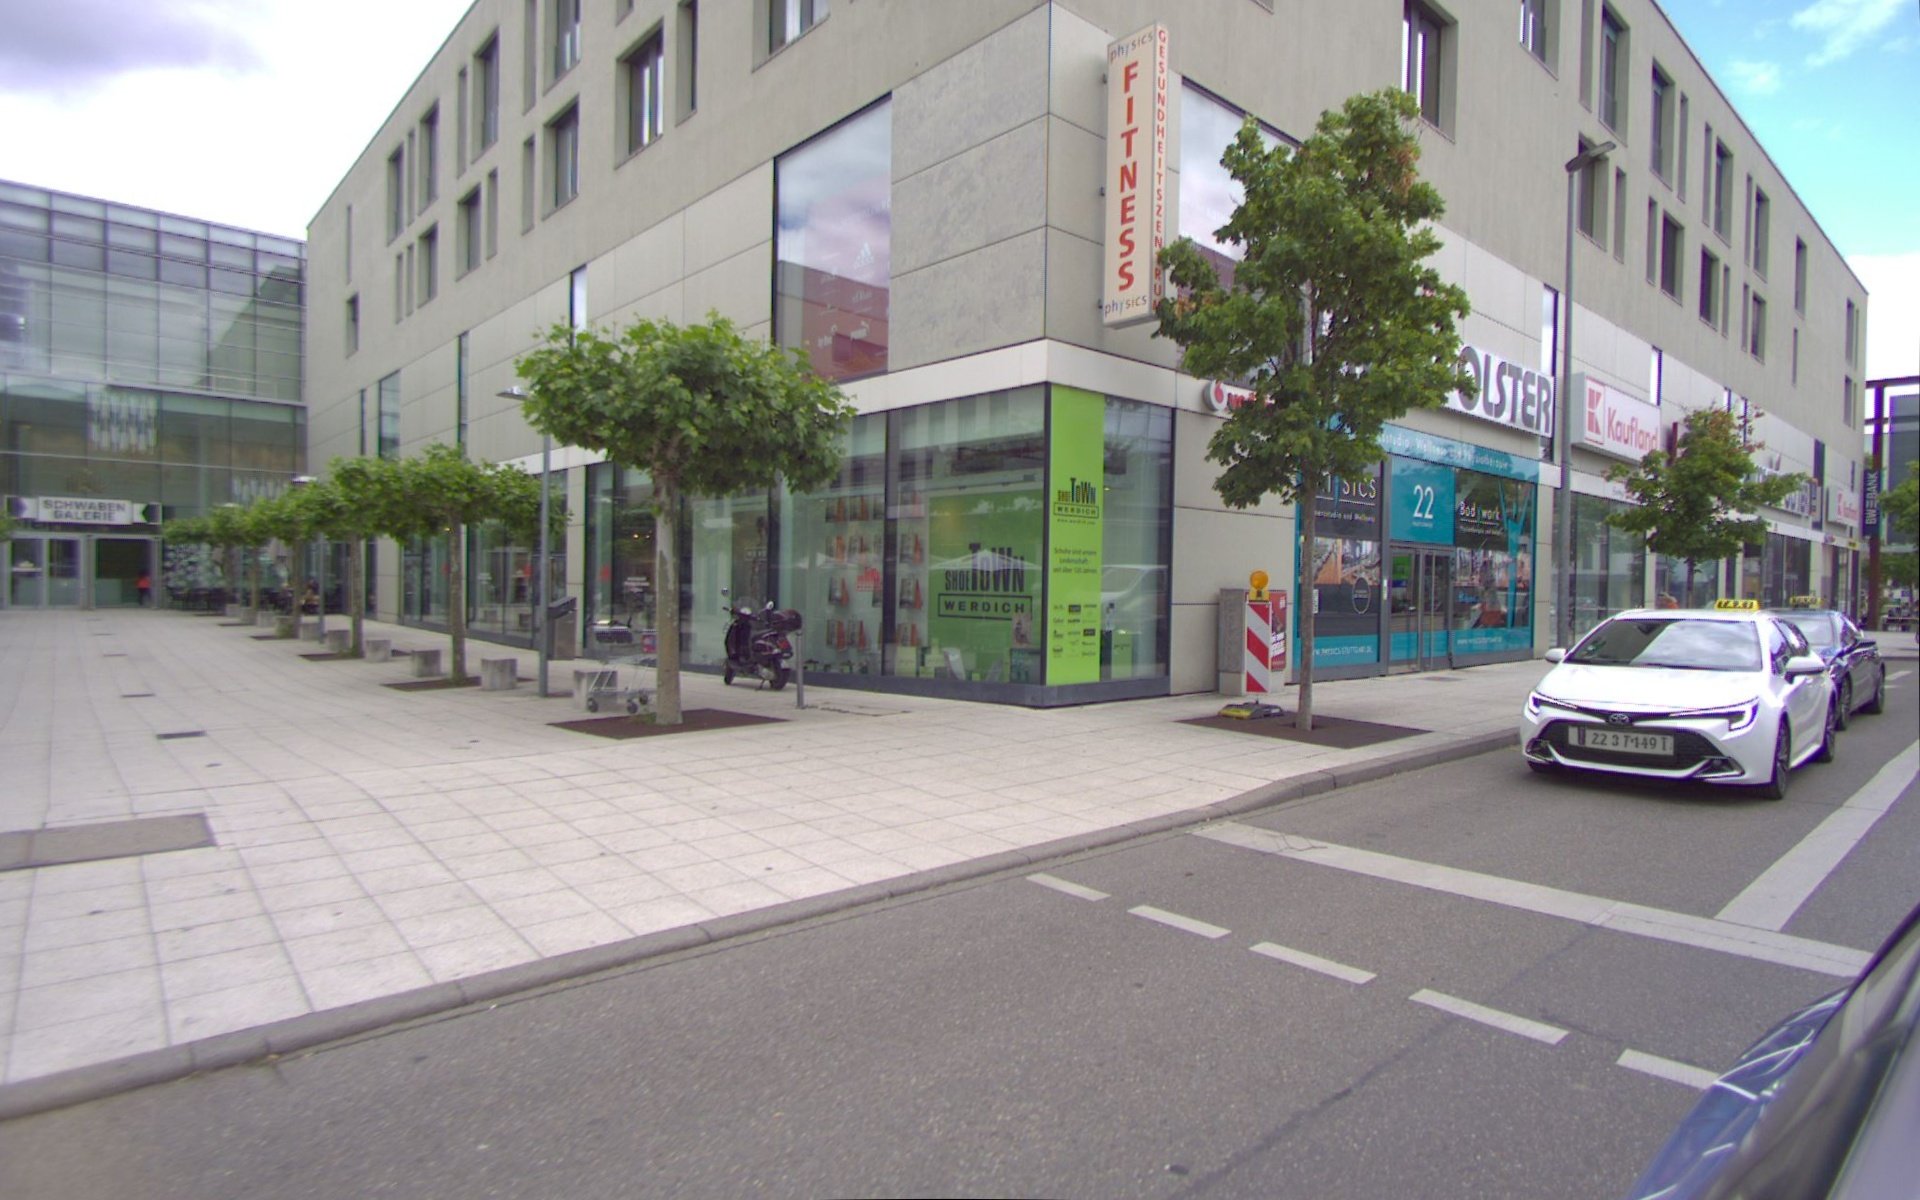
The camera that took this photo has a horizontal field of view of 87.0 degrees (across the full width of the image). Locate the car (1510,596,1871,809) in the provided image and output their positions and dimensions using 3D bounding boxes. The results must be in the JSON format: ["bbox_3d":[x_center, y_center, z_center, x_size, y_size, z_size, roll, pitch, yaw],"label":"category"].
[{"bbox_3d":[6.728,0.694,9.117,4.438,1.443,1.785,0,1,-42],"label":"car"}]

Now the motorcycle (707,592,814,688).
[{"bbox_3d":[-2.866,0.541,14.437,0.584,1.273,1.841,-3,2,-43],"label":"motorcycle"}]

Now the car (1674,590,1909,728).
[{"bbox_3d":[11.333,0.657,13.665,4.707,1.561,1.739,0,0,-42],"label":"car"}]

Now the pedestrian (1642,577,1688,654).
[{"bbox_3d":[15.101,0.319,21.671,0.719,1.586,0.590,1,2,-41],"label":"pedestrian"}]
